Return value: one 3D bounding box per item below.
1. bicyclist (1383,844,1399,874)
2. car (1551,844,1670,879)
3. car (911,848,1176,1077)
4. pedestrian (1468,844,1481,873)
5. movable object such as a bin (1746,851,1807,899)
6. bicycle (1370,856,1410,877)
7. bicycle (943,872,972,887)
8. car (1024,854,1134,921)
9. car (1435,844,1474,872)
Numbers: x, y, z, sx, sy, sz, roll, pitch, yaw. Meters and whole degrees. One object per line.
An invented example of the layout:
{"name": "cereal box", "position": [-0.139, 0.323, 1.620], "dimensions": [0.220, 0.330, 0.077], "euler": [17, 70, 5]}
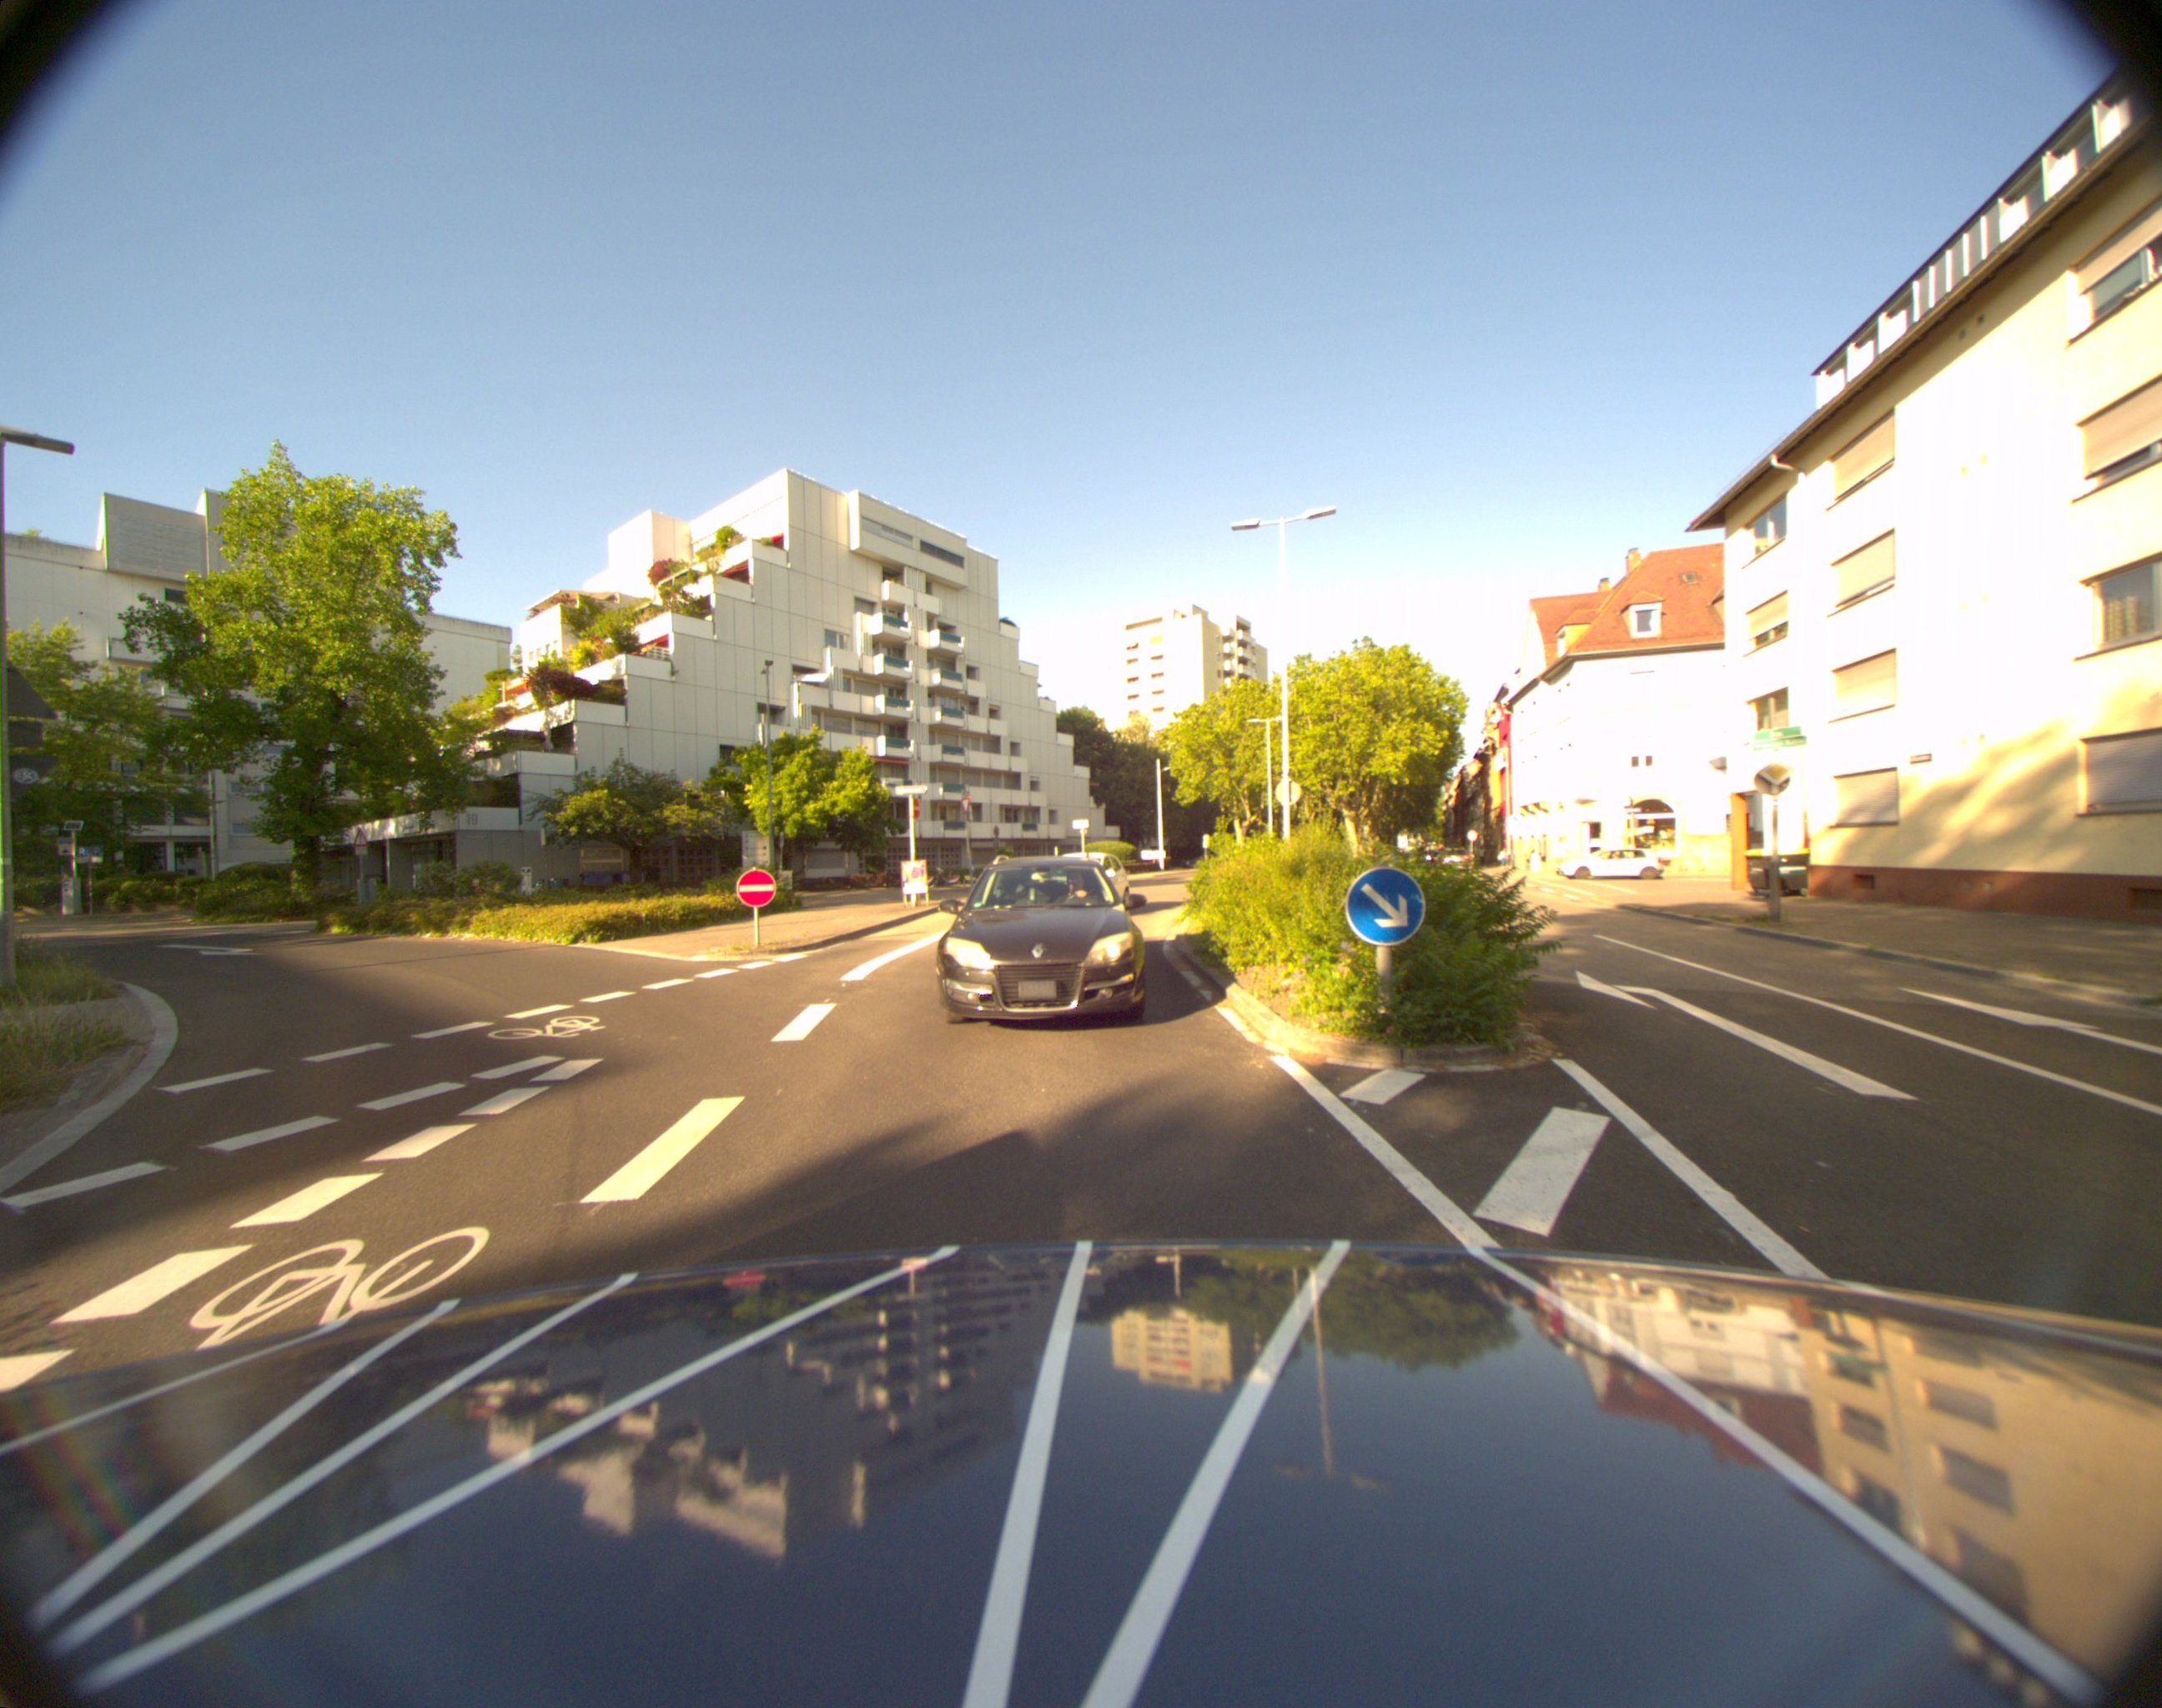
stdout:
{"name": "bicyclist", "position": [16.007, 0.265, 39.232], "dimensions": [0.749, 1.544, 0.631], "euler": [-1, 1, 25]}
{"name": "car", "position": [24.479, 0.340, 35.311], "dimensions": [4.196, 1.502, 1.803], "euler": [-1, 1, 20]}
{"name": "car", "position": [-0.480, 0.794, 7.742], "dimensions": [1.845, 1.536, 4.522], "euler": [-3, 0, -6]}
{"name": "pedestrian", "position": [24.049, 0.270, 46.471], "dimensions": [0.672, 1.702, 0.714], "euler": [-1, 1, 28]}
{"name": "movable object such as a bin", "position": [19.247, 0.557, 21.049], "dimensions": [1.032, 1.278, 1.064], "euler": [-1, 1, 29]}
{"name": "bicycle", "position": [15.986, 0.649, 39.262], "dimensions": [1.865, 1.083, 0.628], "euler": [-1, 1, 25]}
{"name": "bicycle", "position": [-6.980, 1.438, 42.834], "dimensions": [1.576, 0.780, 0.464], "euler": [-1, 1, -5]}
{"name": "car", "position": [0.052, 0.744, 18.569], "dimensions": [1.652, 1.445, 3.539], "euler": [-1, 0, 17]}
{"name": "car", "position": [25.293, 0.255, 51.597], "dimensions": [1.895, 1.782, 4.005], "euler": [-1, 0, 19]}
